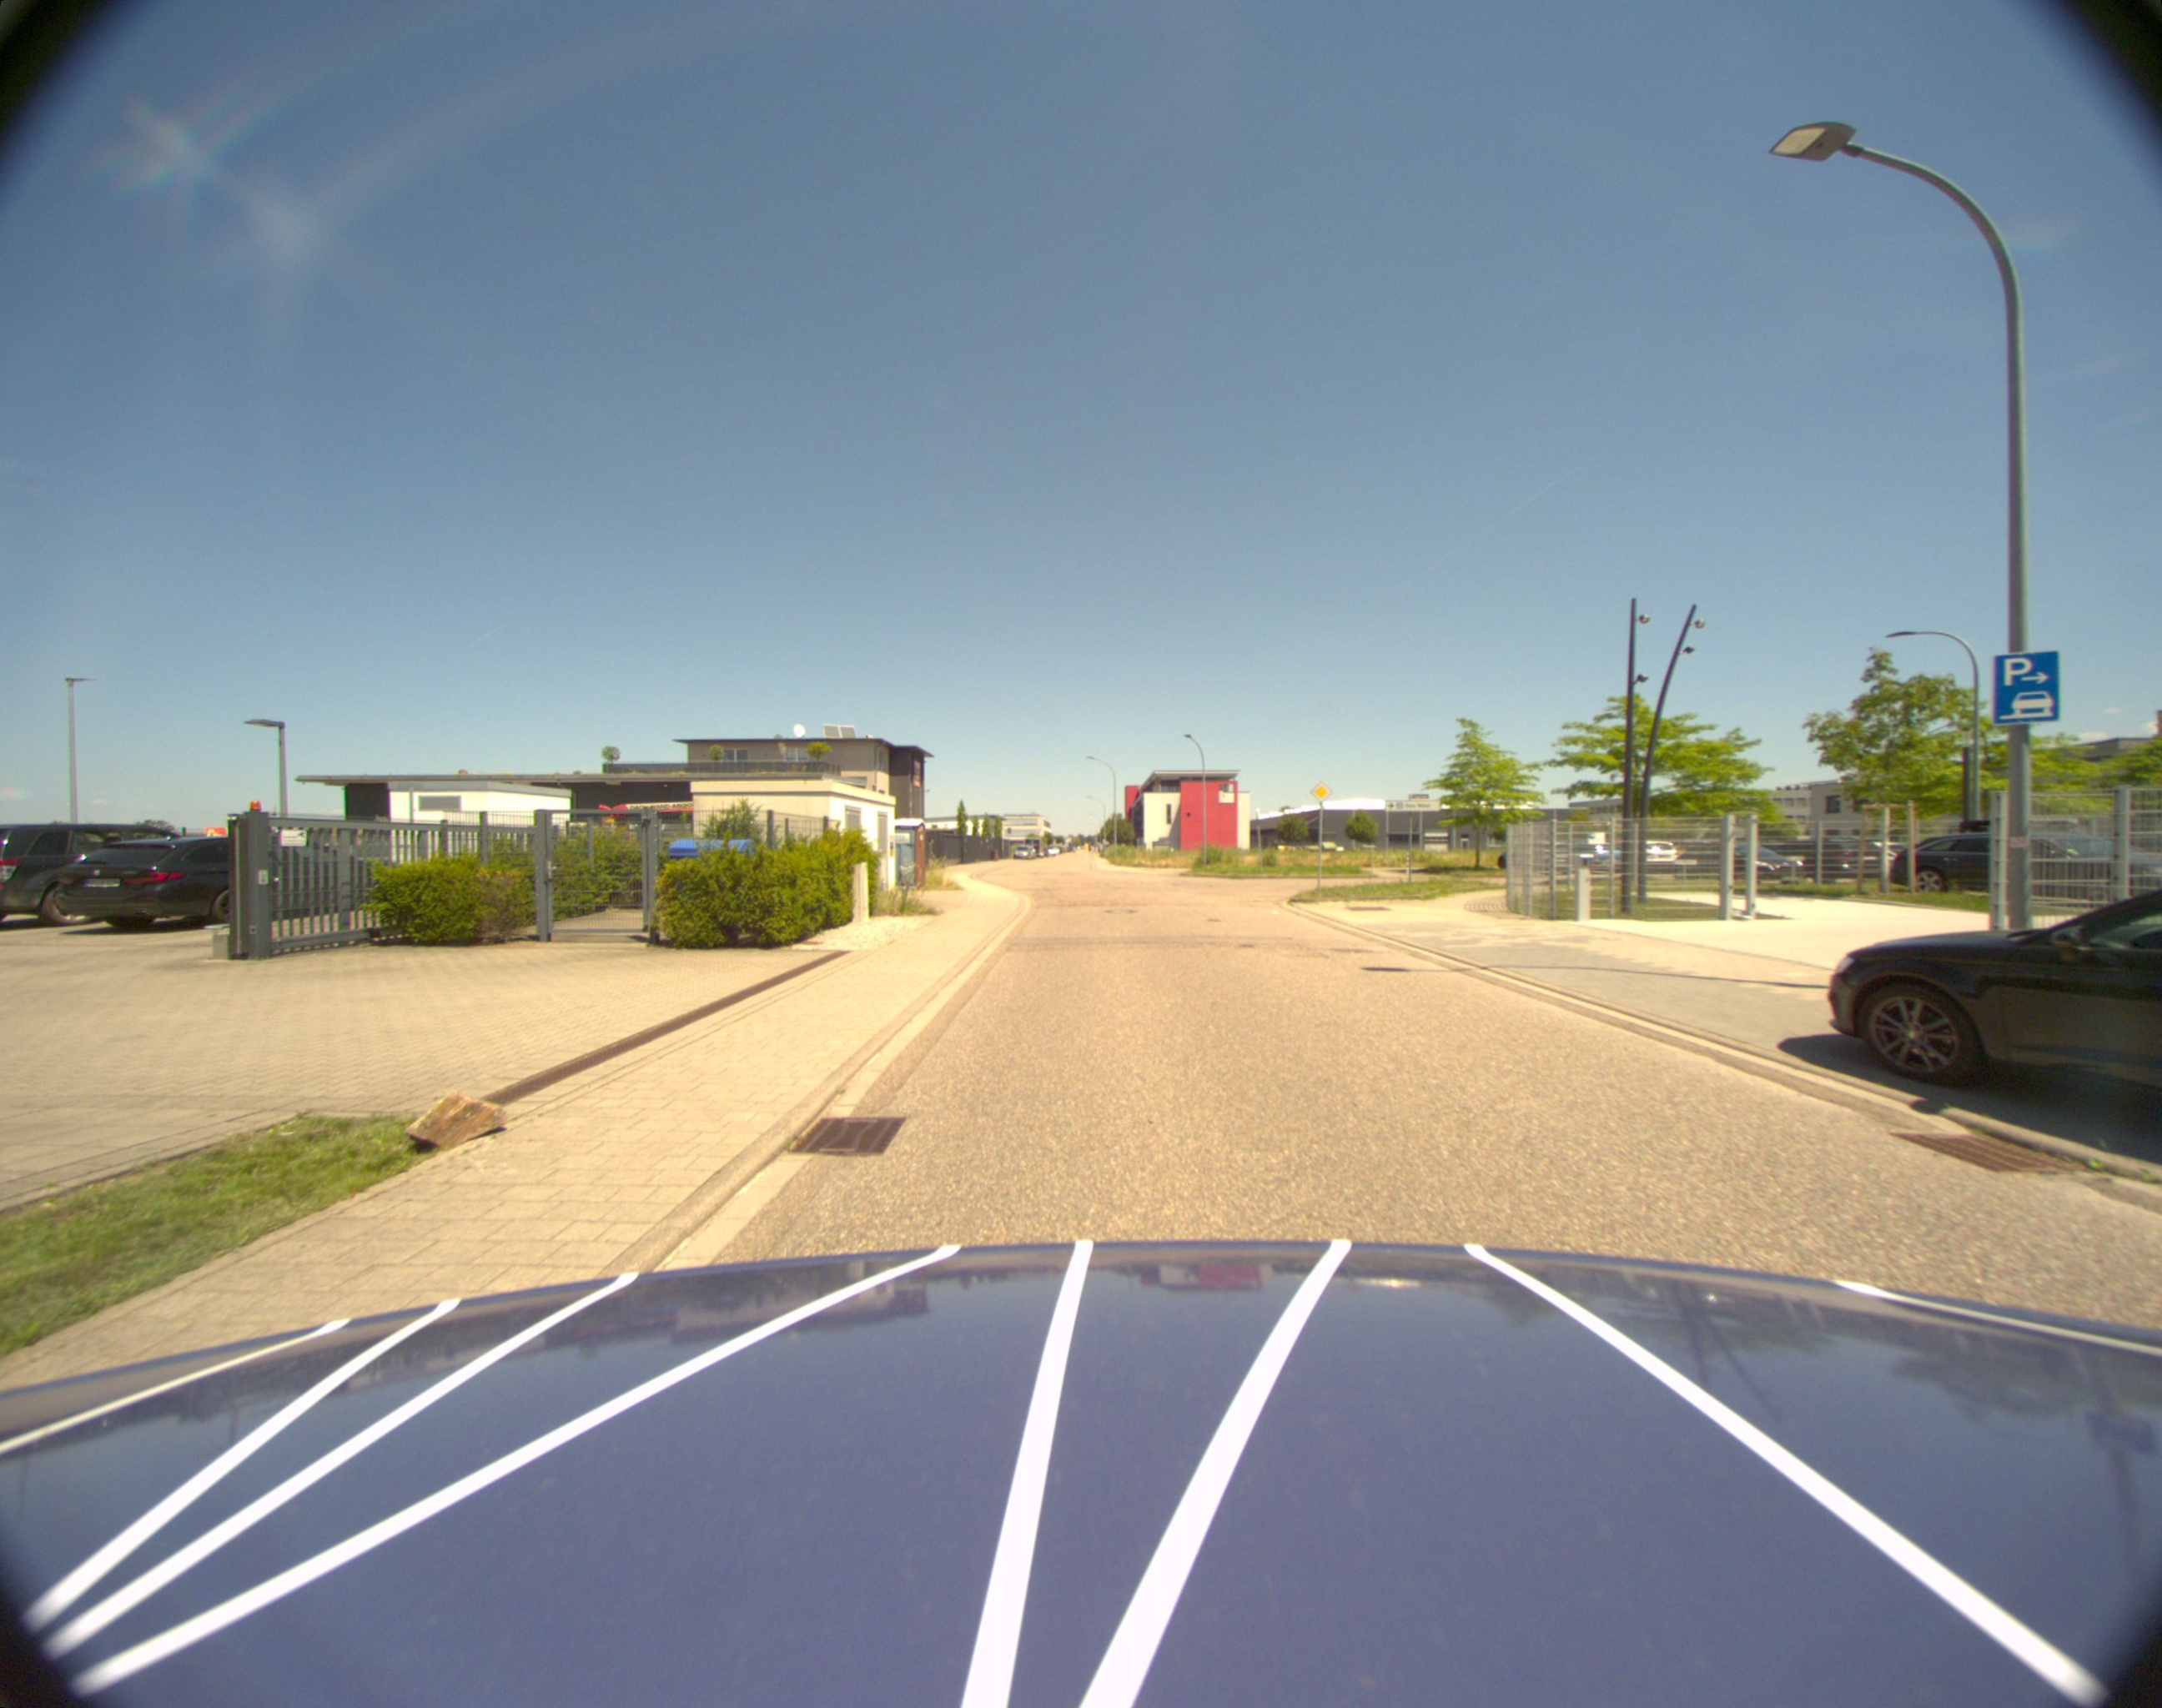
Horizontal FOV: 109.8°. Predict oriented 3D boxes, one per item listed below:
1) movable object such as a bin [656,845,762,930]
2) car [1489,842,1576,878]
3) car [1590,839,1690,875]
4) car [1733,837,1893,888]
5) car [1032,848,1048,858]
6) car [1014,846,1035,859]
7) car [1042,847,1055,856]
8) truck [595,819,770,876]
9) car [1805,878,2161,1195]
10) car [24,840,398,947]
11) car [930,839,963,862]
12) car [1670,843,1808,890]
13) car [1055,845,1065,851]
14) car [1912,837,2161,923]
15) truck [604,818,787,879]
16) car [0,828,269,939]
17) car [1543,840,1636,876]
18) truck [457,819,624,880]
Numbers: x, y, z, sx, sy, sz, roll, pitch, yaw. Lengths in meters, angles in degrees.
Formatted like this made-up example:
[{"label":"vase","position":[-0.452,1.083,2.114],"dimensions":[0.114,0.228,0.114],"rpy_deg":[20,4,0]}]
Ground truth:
[{"label":"movable object such as a bin","position":[-6.887,0.601,14.156],"dimensions":[1.387,1.514,1.170],"rpy_deg":[0,1,0]},{"label":"car","position":[22.415,0.242,37.920],"dimensions":[1.956,1.688,4.308],"rpy_deg":[-1,1,3]},{"label":"car","position":[27.940,0.103,38.166],"dimensions":[1.956,1.688,4.308],"rpy_deg":[-1,1,3]},{"label":"car","position":[25.049,0.297,26.229],"dimensions":[1.610,1.611,4.255],"rpy_deg":[0,-1,4]},{"label":"car","position":[-5.361,-0.085,99.298],"dimensions":[1.828,1.269,3.886],"rpy_deg":[0,1,2]},{"label":"car","position":[-5.985,-0.188,81.318],"dimensions":[1.828,1.269,3.886],"rpy_deg":[0,1,2]},{"label":"car","position":[-4.884,-0.396,114.504],"dimensions":[1.828,1.269,3.886],"rpy_deg":[0,1,2]},{"label":"truck","position":[-23.546,-0.398,45.162],"dimensions":[8.966,3.158,2.689],"rpy_deg":[-1,1,1]},{"label":"car","position":[6.115,0.908,3.366],"dimensions":[1.774,1.458,4.185],"rpy_deg":[-1,0,-1]},{"label":"car","position":[-14.761,0.555,13.330],"dimensions":[1.859,1.481,3.998],"rpy_deg":[0,3,1]},{"label":"car","position":[-10.598,-0.281,60.255],"dimensions":[1.929,1.784,3.999],"rpy_deg":[0,1,0]},{"label":"car","position":[22.430,0.422,26.105],"dimensions":[1.610,1.467,3.800],"rpy_deg":[0,-1,4]},{"label":"car","position":[-4.435,-1.336,161.102],"dimensions":[1.828,1.269,3.886],"rpy_deg":[0,1,2]},{"label":"car","position":[19.819,0.428,15.258],"dimensions":[1.775,1.502,4.105],"rpy_deg":[0,1,0]},{"label":"truck","position":[-20.330,-0.285,40.382],"dimensions":[8.354,3.005,2.625],"rpy_deg":[-1,1,1]},{"label":"car","position":[-17.467,0.395,13.422],"dimensions":[1.859,1.669,3.998],"rpy_deg":[0,3,1]},{"label":"car","position":[25.524,0.148,38.335],"dimensions":[1.956,1.688,4.308],"rpy_deg":[-1,1,3]},{"label":"truck","position":[-28.463,-0.240,40.217],"dimensions":[7.026,3.005,2.496],"rpy_deg":[-1,1,1]}]
